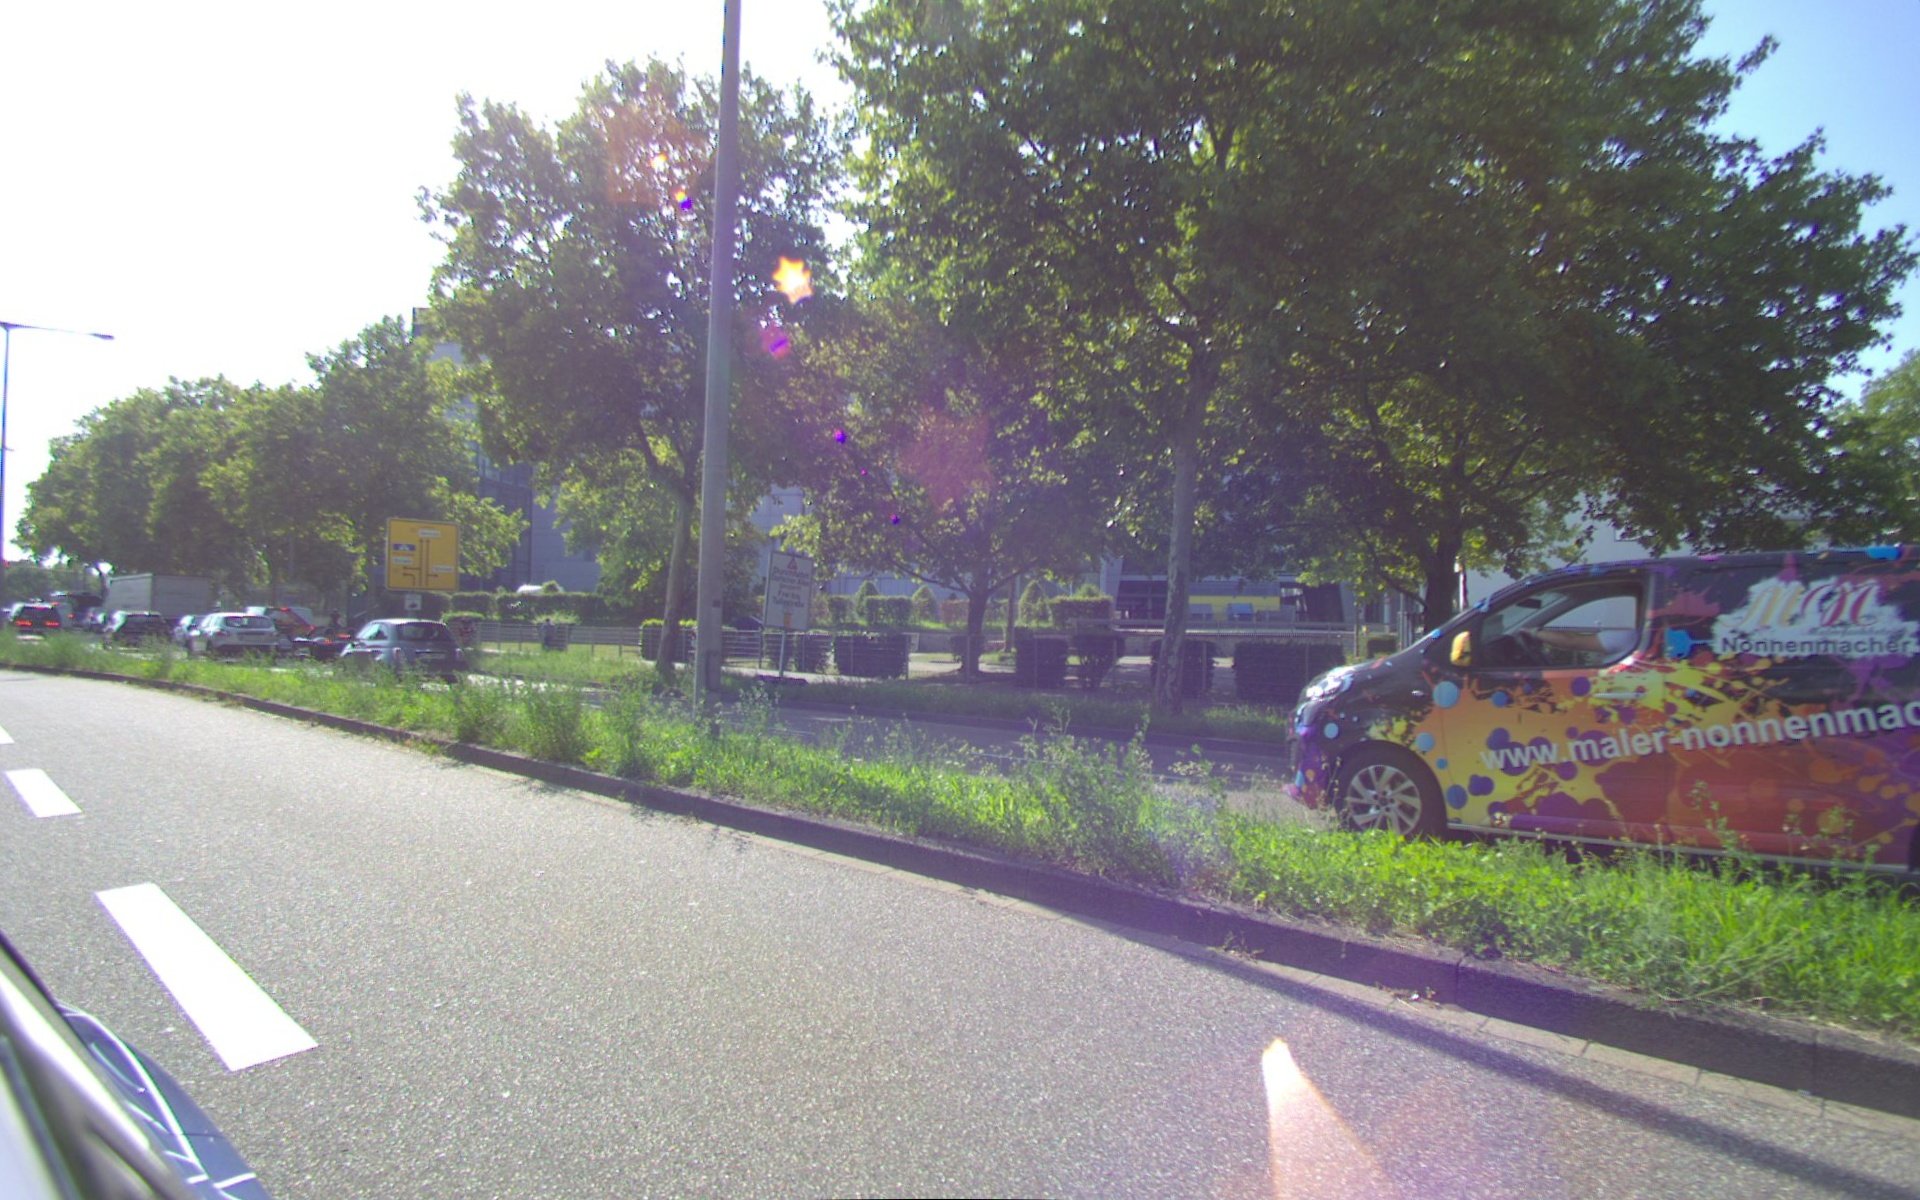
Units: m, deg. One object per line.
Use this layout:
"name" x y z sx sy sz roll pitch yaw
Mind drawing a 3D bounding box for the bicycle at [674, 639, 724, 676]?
"bicycle" -8.277 1.791 32.024 1.800 1.116 0.641 -1 -3 42

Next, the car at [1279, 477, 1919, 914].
"car" 4.486 0.488 6.049 4.565 2.043 1.911 -1 -3 42

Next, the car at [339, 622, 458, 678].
"car" -16.257 1.405 29.226 3.999 1.493 1.772 -1 -2 42

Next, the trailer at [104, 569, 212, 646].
"trailer" -45.337 0.498 56.962 13.812 3.851 2.604 -1 -4 43

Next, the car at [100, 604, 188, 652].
"car" -32.402 1.109 40.150 4.306 1.773 1.972 -1 -4 42

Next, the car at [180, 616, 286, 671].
"car" -22.672 1.317 31.515 4.108 1.606 1.859 -1 -3 43

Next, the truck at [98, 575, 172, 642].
"truck" -50.150 0.565 61.480 5.891 3.849 2.579 -1 -4 43

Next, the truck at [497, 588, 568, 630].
"truck" -30.603 0.665 72.615 2.211 2.883 5.896 0 -1 5

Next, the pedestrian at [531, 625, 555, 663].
"pedestrian" -18.588 1.946 45.107 0.934 1.665 0.610 -1 -1 43

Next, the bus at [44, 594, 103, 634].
"bus" -73.002 1.133 83.221 12.314 3.103 2.561 -1 -1 44

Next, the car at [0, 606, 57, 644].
"car" -45.871 1.249 49.469 4.474 1.773 1.973 -1 -3 40

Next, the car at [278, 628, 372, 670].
"car" -21.340 1.620 33.937 4.097 1.272 1.770 -1 -3 45

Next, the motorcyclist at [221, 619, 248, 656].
"motorcyclist" -31.201 1.618 43.511 0.923 1.566 0.769 -1 -1 44

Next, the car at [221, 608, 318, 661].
"car" -26.545 1.303 38.821 4.969 1.873 1.962 -1 -4 43

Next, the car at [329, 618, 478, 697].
"car" -11.568 1.118 20.975 3.492 1.497 1.658 -1 -1 42

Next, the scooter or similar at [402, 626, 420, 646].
"scooter or similar" -31.641 2.085 58.337 1.382 1.136 0.503 -1 -1 44

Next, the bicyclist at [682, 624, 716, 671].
"bicyclist" -8.261 1.497 32.012 0.840 1.450 0.641 -1 -3 42

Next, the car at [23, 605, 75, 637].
"car" -58.362 1.375 64.803 5.036 1.968 1.972 -1 -3 43
